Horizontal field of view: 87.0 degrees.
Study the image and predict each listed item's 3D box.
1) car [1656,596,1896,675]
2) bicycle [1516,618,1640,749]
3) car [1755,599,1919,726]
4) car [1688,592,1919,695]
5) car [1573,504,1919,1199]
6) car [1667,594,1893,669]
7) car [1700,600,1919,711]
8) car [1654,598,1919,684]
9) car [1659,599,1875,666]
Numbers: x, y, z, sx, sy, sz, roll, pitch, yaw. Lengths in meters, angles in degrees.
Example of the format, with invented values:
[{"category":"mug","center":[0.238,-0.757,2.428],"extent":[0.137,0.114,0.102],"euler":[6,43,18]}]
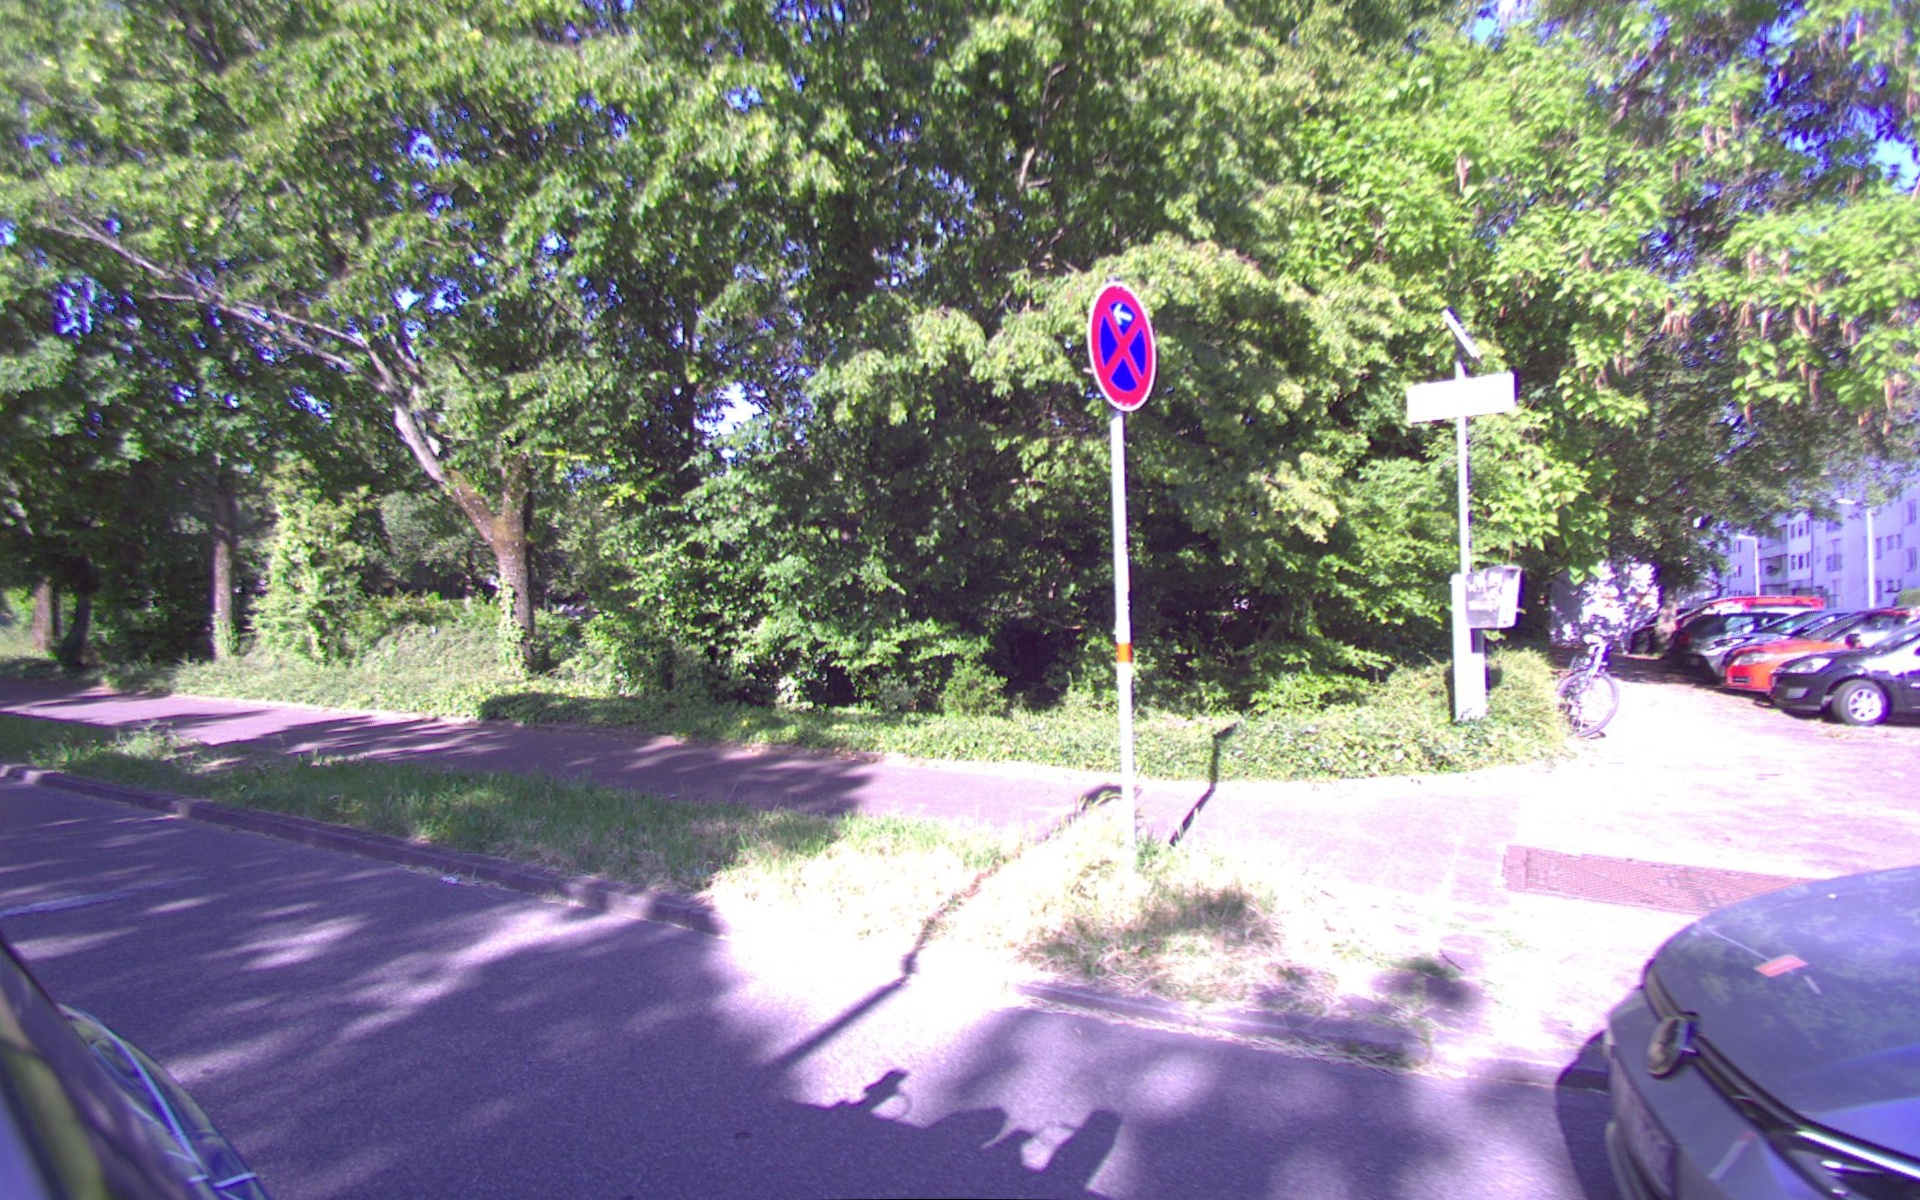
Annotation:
[{"category":"car","center":[17.827,0.733,22.364],"extent":[3.869,1.569,1.659],"euler":[1,0,30]},{"category":"bicycle","center":[6.131,0.765,9.995],"extent":[0.760,1.161,1.880],"euler":[-2,-2,40]},{"category":"car","center":[12.357,0.763,12.403],"extent":[3.868,1.498,1.659],"euler":[1,0,29]},{"category":"car","center":[14.807,0.692,17.108],"extent":[3.869,1.615,1.659],"euler":[1,0,30]},{"category":"car","center":[3.308,0.677,1.195],"extent":[4.159,1.478,1.655],"euler":[1,-2,21]},{"category":"car","center":[21.290,0.768,26.515],"extent":[4.337,1.821,1.659],"euler":[1,0,30]},{"category":"car","center":[13.372,0.783,14.832],"extent":[3.869,1.498,1.659],"euler":[1,0,30]},{"category":"car","center":[15.981,0.742,19.741],"extent":[3.869,1.498,1.659],"euler":[1,0,30]},{"category":"car","center":[19.505,0.751,24.683],"extent":[3.869,1.498,1.659],"euler":[1,0,30]}]
